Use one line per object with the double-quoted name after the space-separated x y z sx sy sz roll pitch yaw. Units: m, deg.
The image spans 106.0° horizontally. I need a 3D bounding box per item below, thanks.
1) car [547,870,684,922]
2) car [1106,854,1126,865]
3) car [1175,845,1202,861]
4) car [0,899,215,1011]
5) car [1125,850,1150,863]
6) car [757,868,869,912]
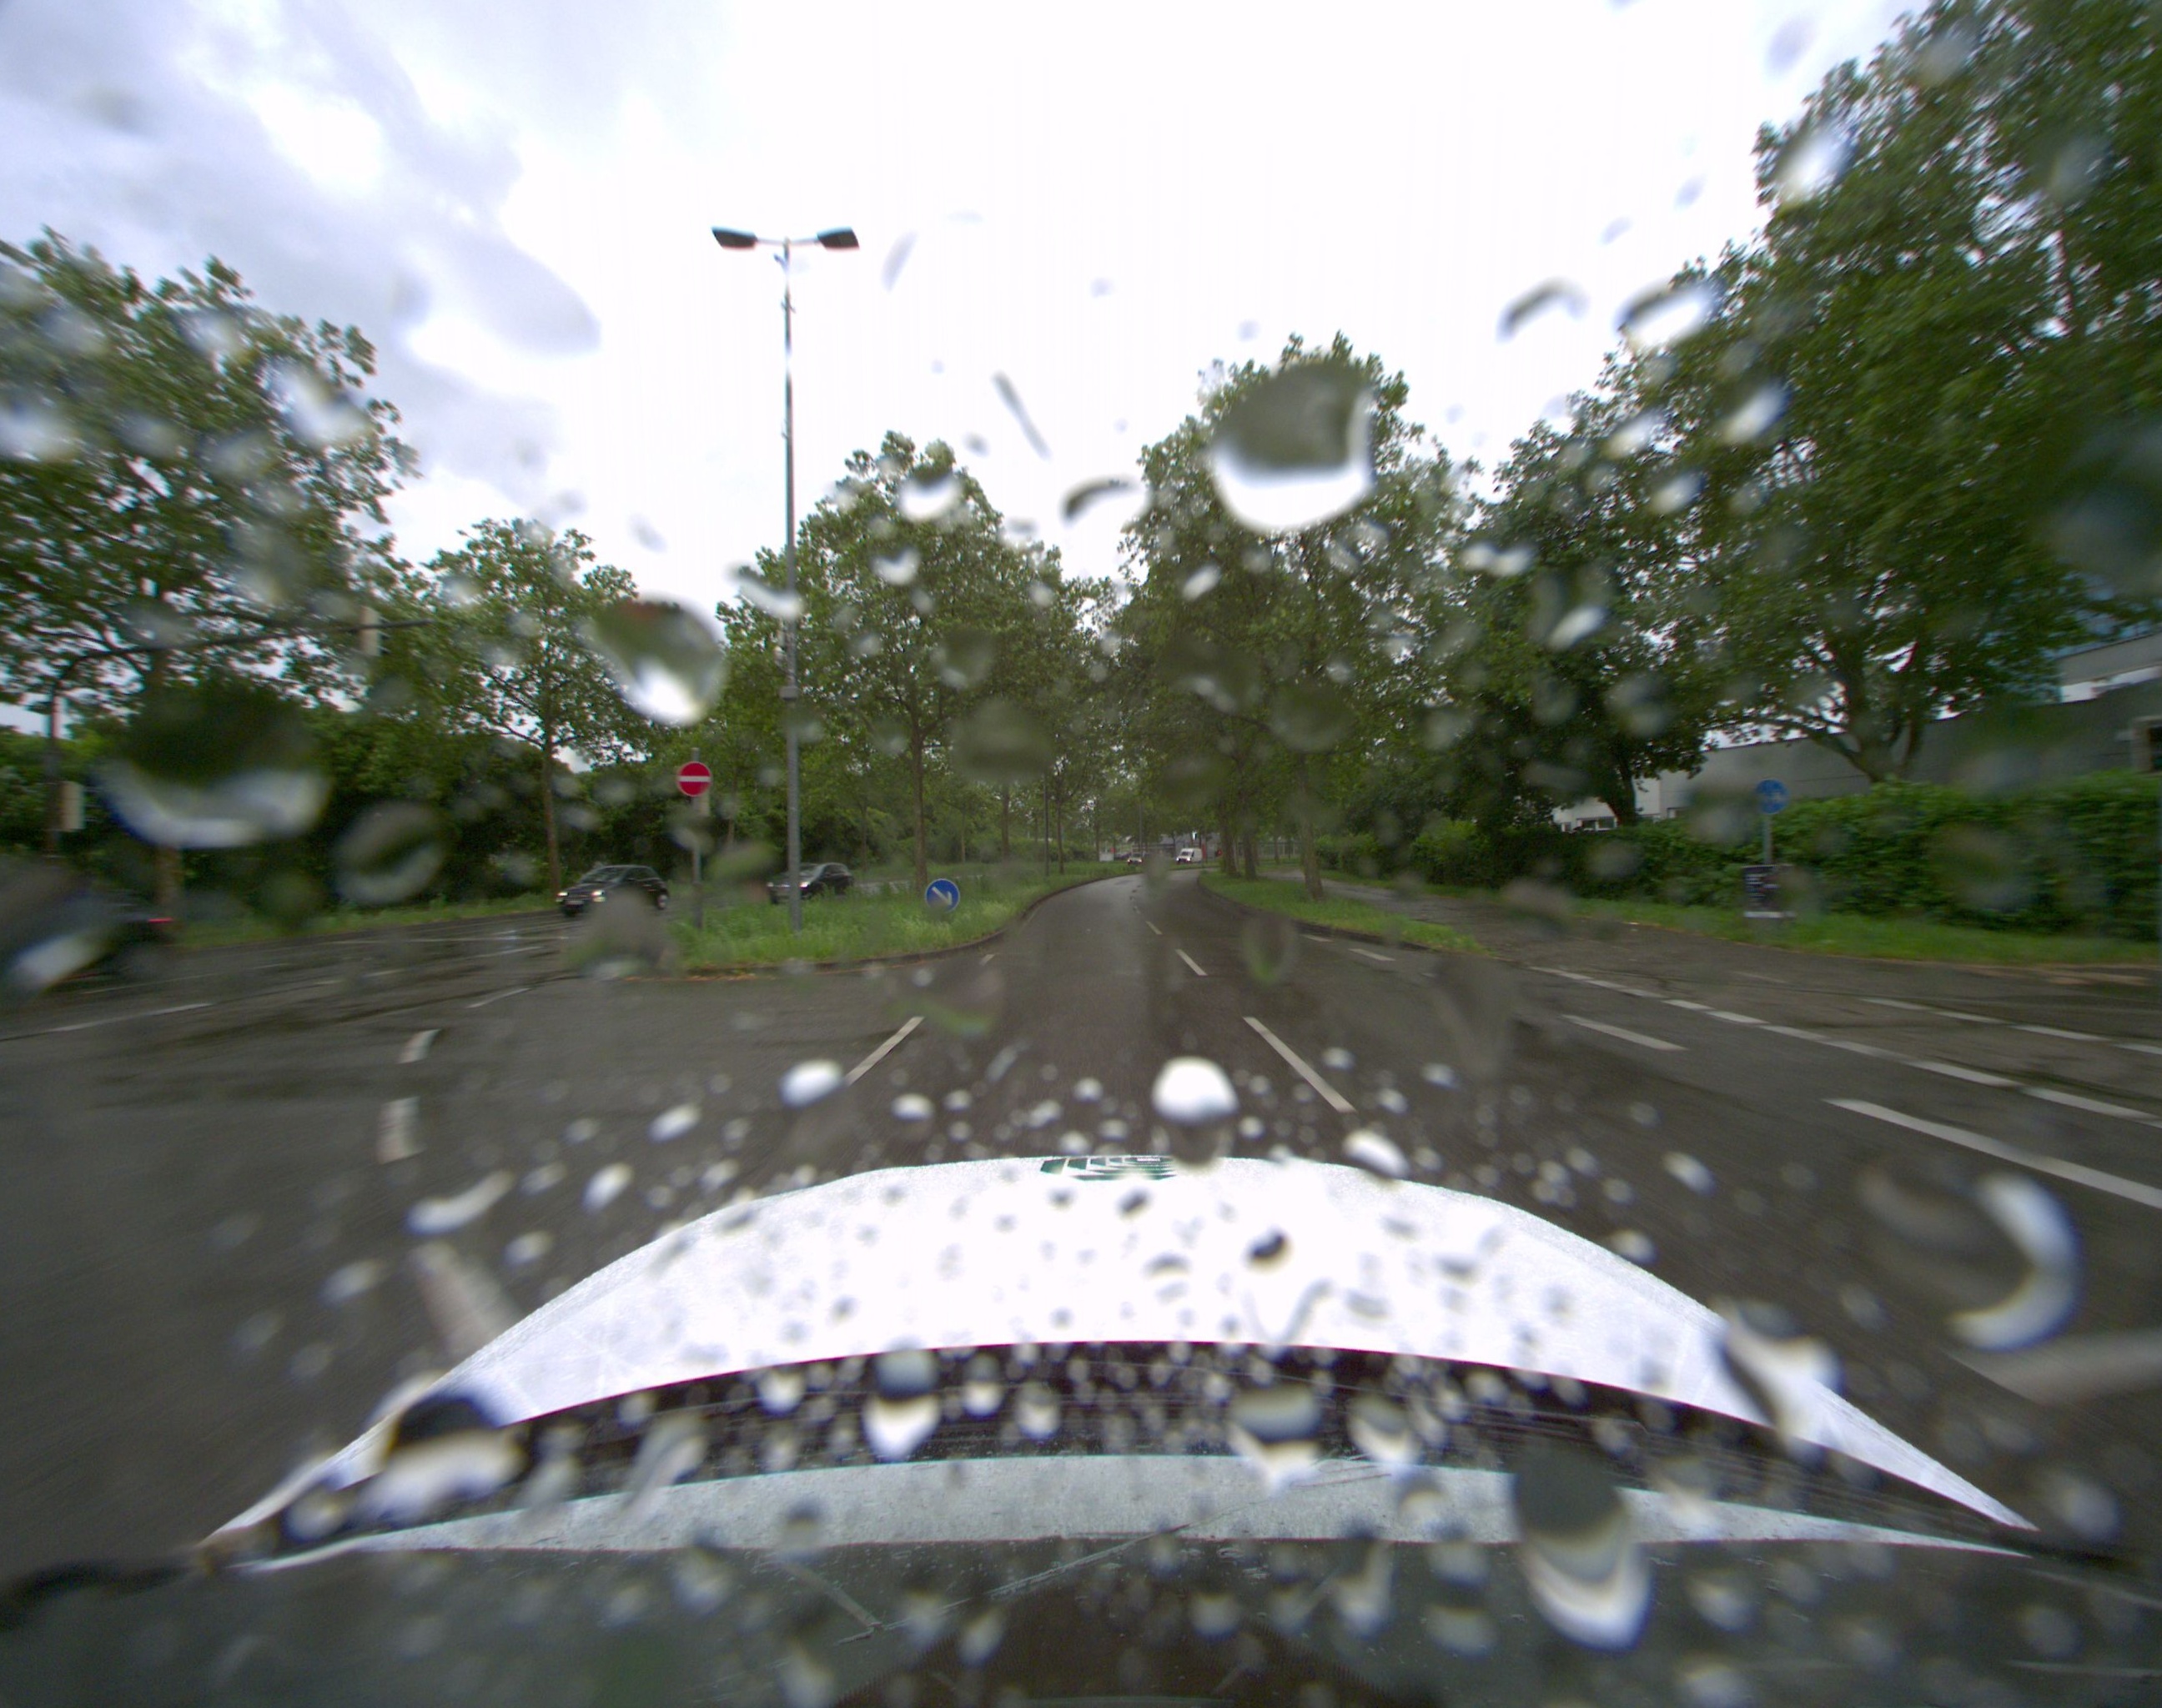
-14.472 1.256 25.641 1.580 1.373 4.267 -2 0 4 "car"
7.208 1.130 167.637 3.982 2.014 1.995 -1 -2 -6 "car"
15.610 -0.168 117.640 2.262 2.271 6.001 -1 0 23 "car"
-15.244 1.440 11.384 1.581 1.373 4.264 -2 0 2 "car"
7.078 0.252 101.953 1.956 1.564 4.753 -1 0 18 "car"
-10.173 1.329 31.372 1.992 1.452 5.004 -2 0 9 "car"
